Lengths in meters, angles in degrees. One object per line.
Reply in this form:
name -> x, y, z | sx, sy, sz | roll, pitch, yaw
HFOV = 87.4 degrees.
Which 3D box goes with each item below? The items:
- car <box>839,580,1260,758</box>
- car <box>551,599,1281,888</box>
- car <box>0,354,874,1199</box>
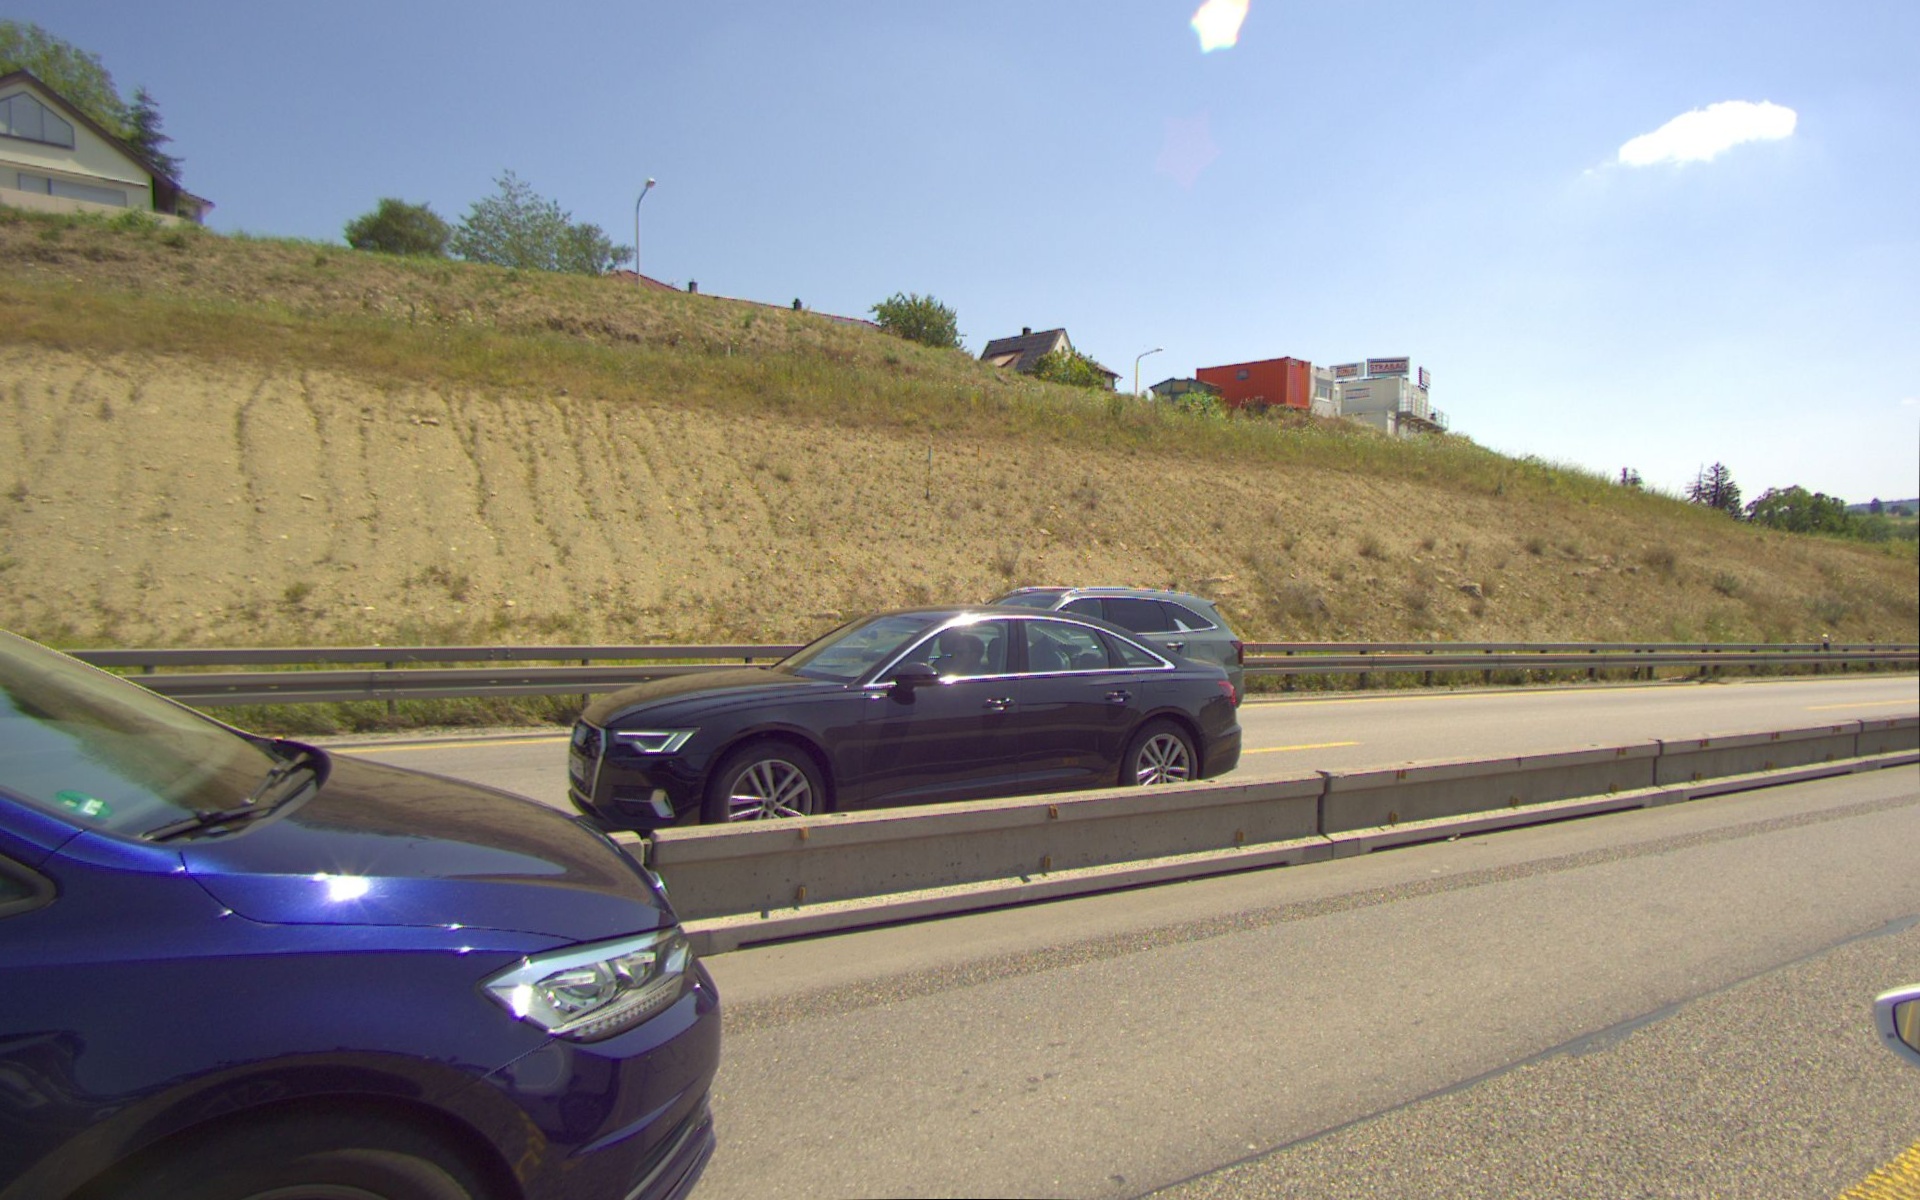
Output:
car -> 1.110, 0.688, 11.537 | 4.614, 1.694, 1.845 | 1, 0, -31
car -> -0.135, 0.765, 7.075 | 4.892, 1.446, 1.788 | 1, 0, -31
car -> -2.588, 0.532, 1.616 | 4.597, 1.741, 1.767 | 0, 1, -30
